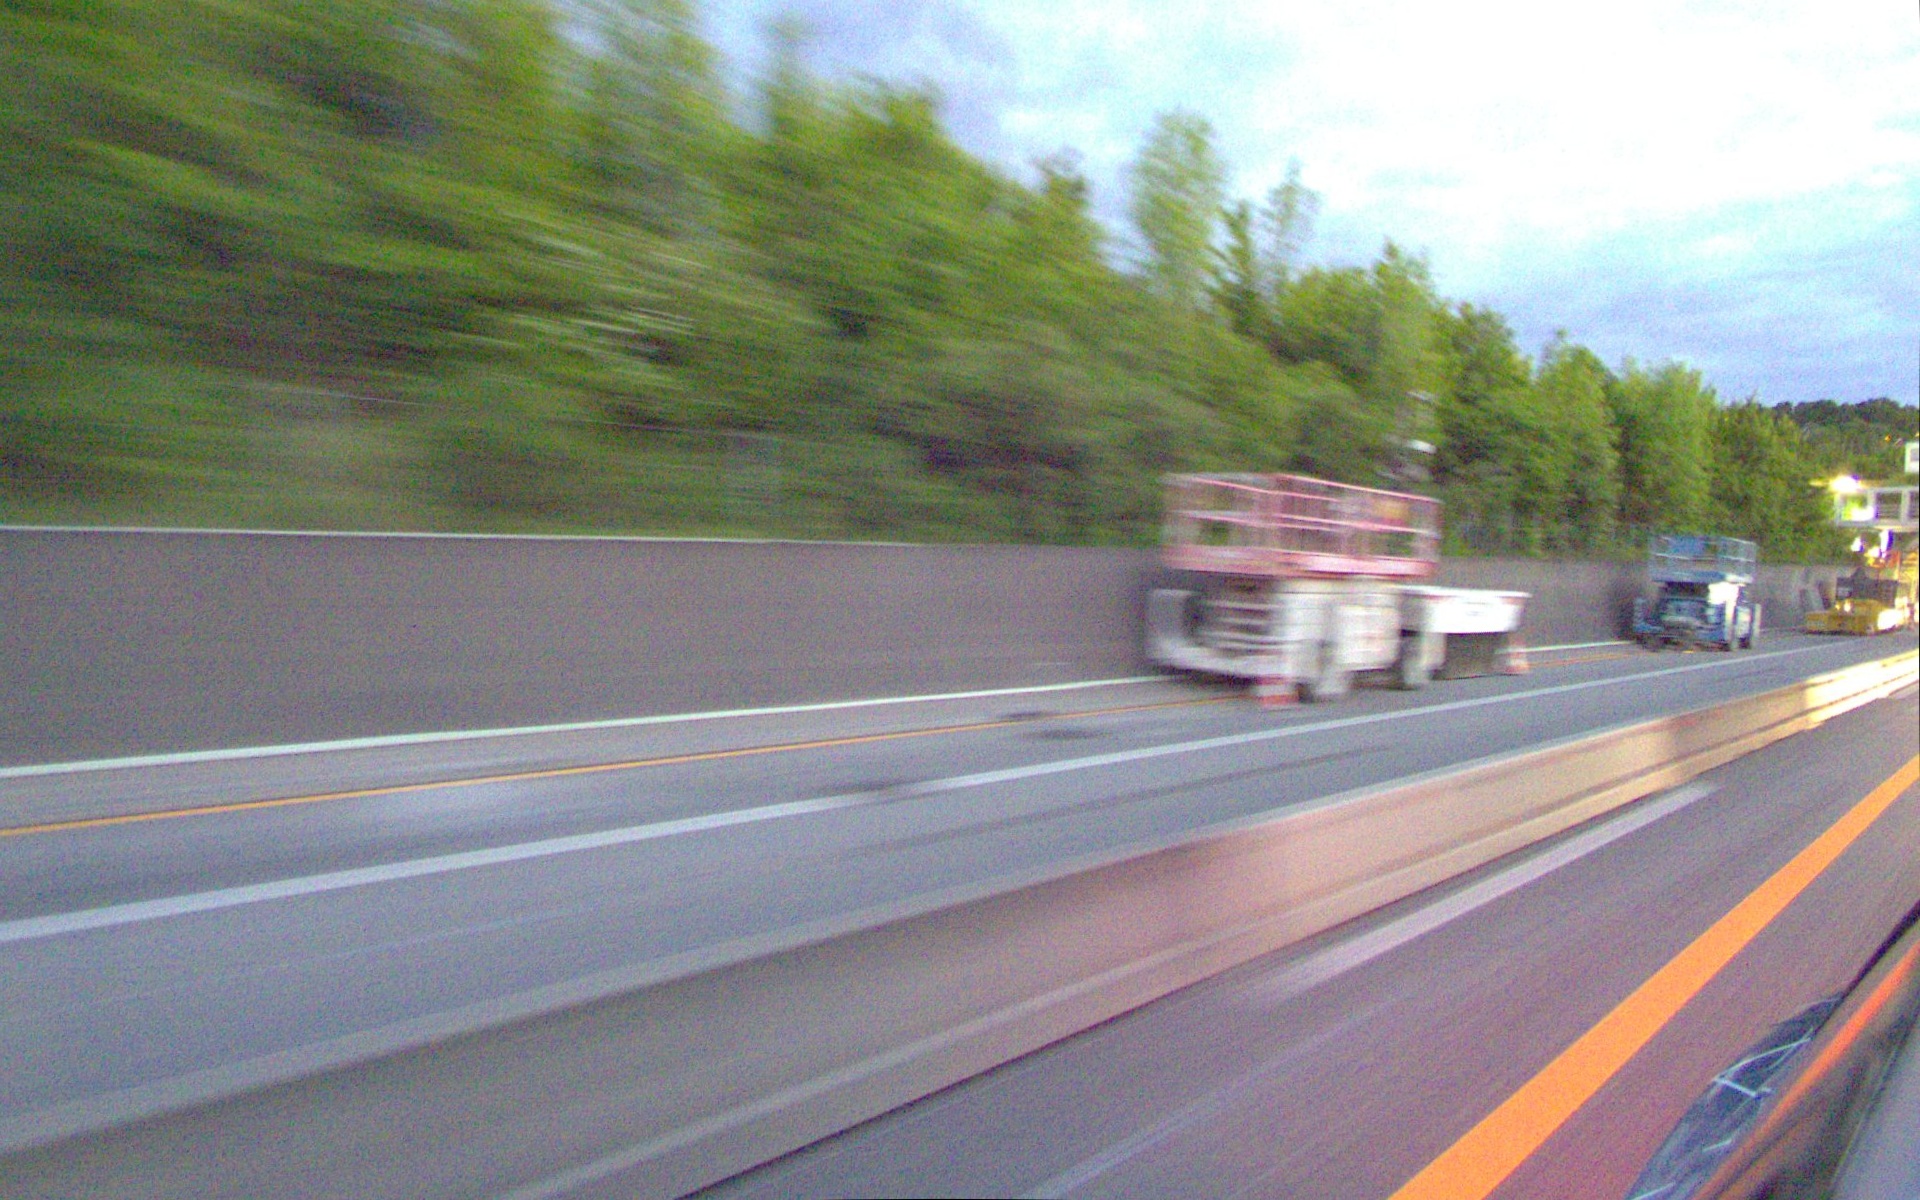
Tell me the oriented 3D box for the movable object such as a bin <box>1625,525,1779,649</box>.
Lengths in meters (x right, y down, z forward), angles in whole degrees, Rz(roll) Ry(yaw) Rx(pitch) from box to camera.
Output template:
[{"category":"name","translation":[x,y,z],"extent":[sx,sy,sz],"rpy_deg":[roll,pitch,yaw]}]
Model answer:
[{"category":"movable object such as a bin","translation":[22.256,-0.434,30.262],"extent":[5.483,3.359,2.569],"rpy_deg":[-1,2,-42]}]

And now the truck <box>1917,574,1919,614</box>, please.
[{"category":"truck","translation":[83.637,-0.508,85.889],"extent":[8.208,3.327,2.822],"rpy_deg":[-1,0,-41]}]

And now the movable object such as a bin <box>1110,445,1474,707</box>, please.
[{"category":"movable object such as a bin","translation":[5.099,-0.357,15.047],"extent":[5.706,3.146,2.625],"rpy_deg":[-1,2,-42]}]

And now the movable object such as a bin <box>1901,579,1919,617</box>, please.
[{"category":"movable object such as a bin","translation":[75.551,-0.211,78.699],"extent":[7.076,2.863,2.973],"rpy_deg":[-1,0,-43]}]

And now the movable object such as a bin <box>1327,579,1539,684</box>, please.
[{"category":"movable object such as a bin","translation":[8.650,0.470,18.393],"extent":[4.013,1.621,1.998],"rpy_deg":[-1,3,-41]}]
